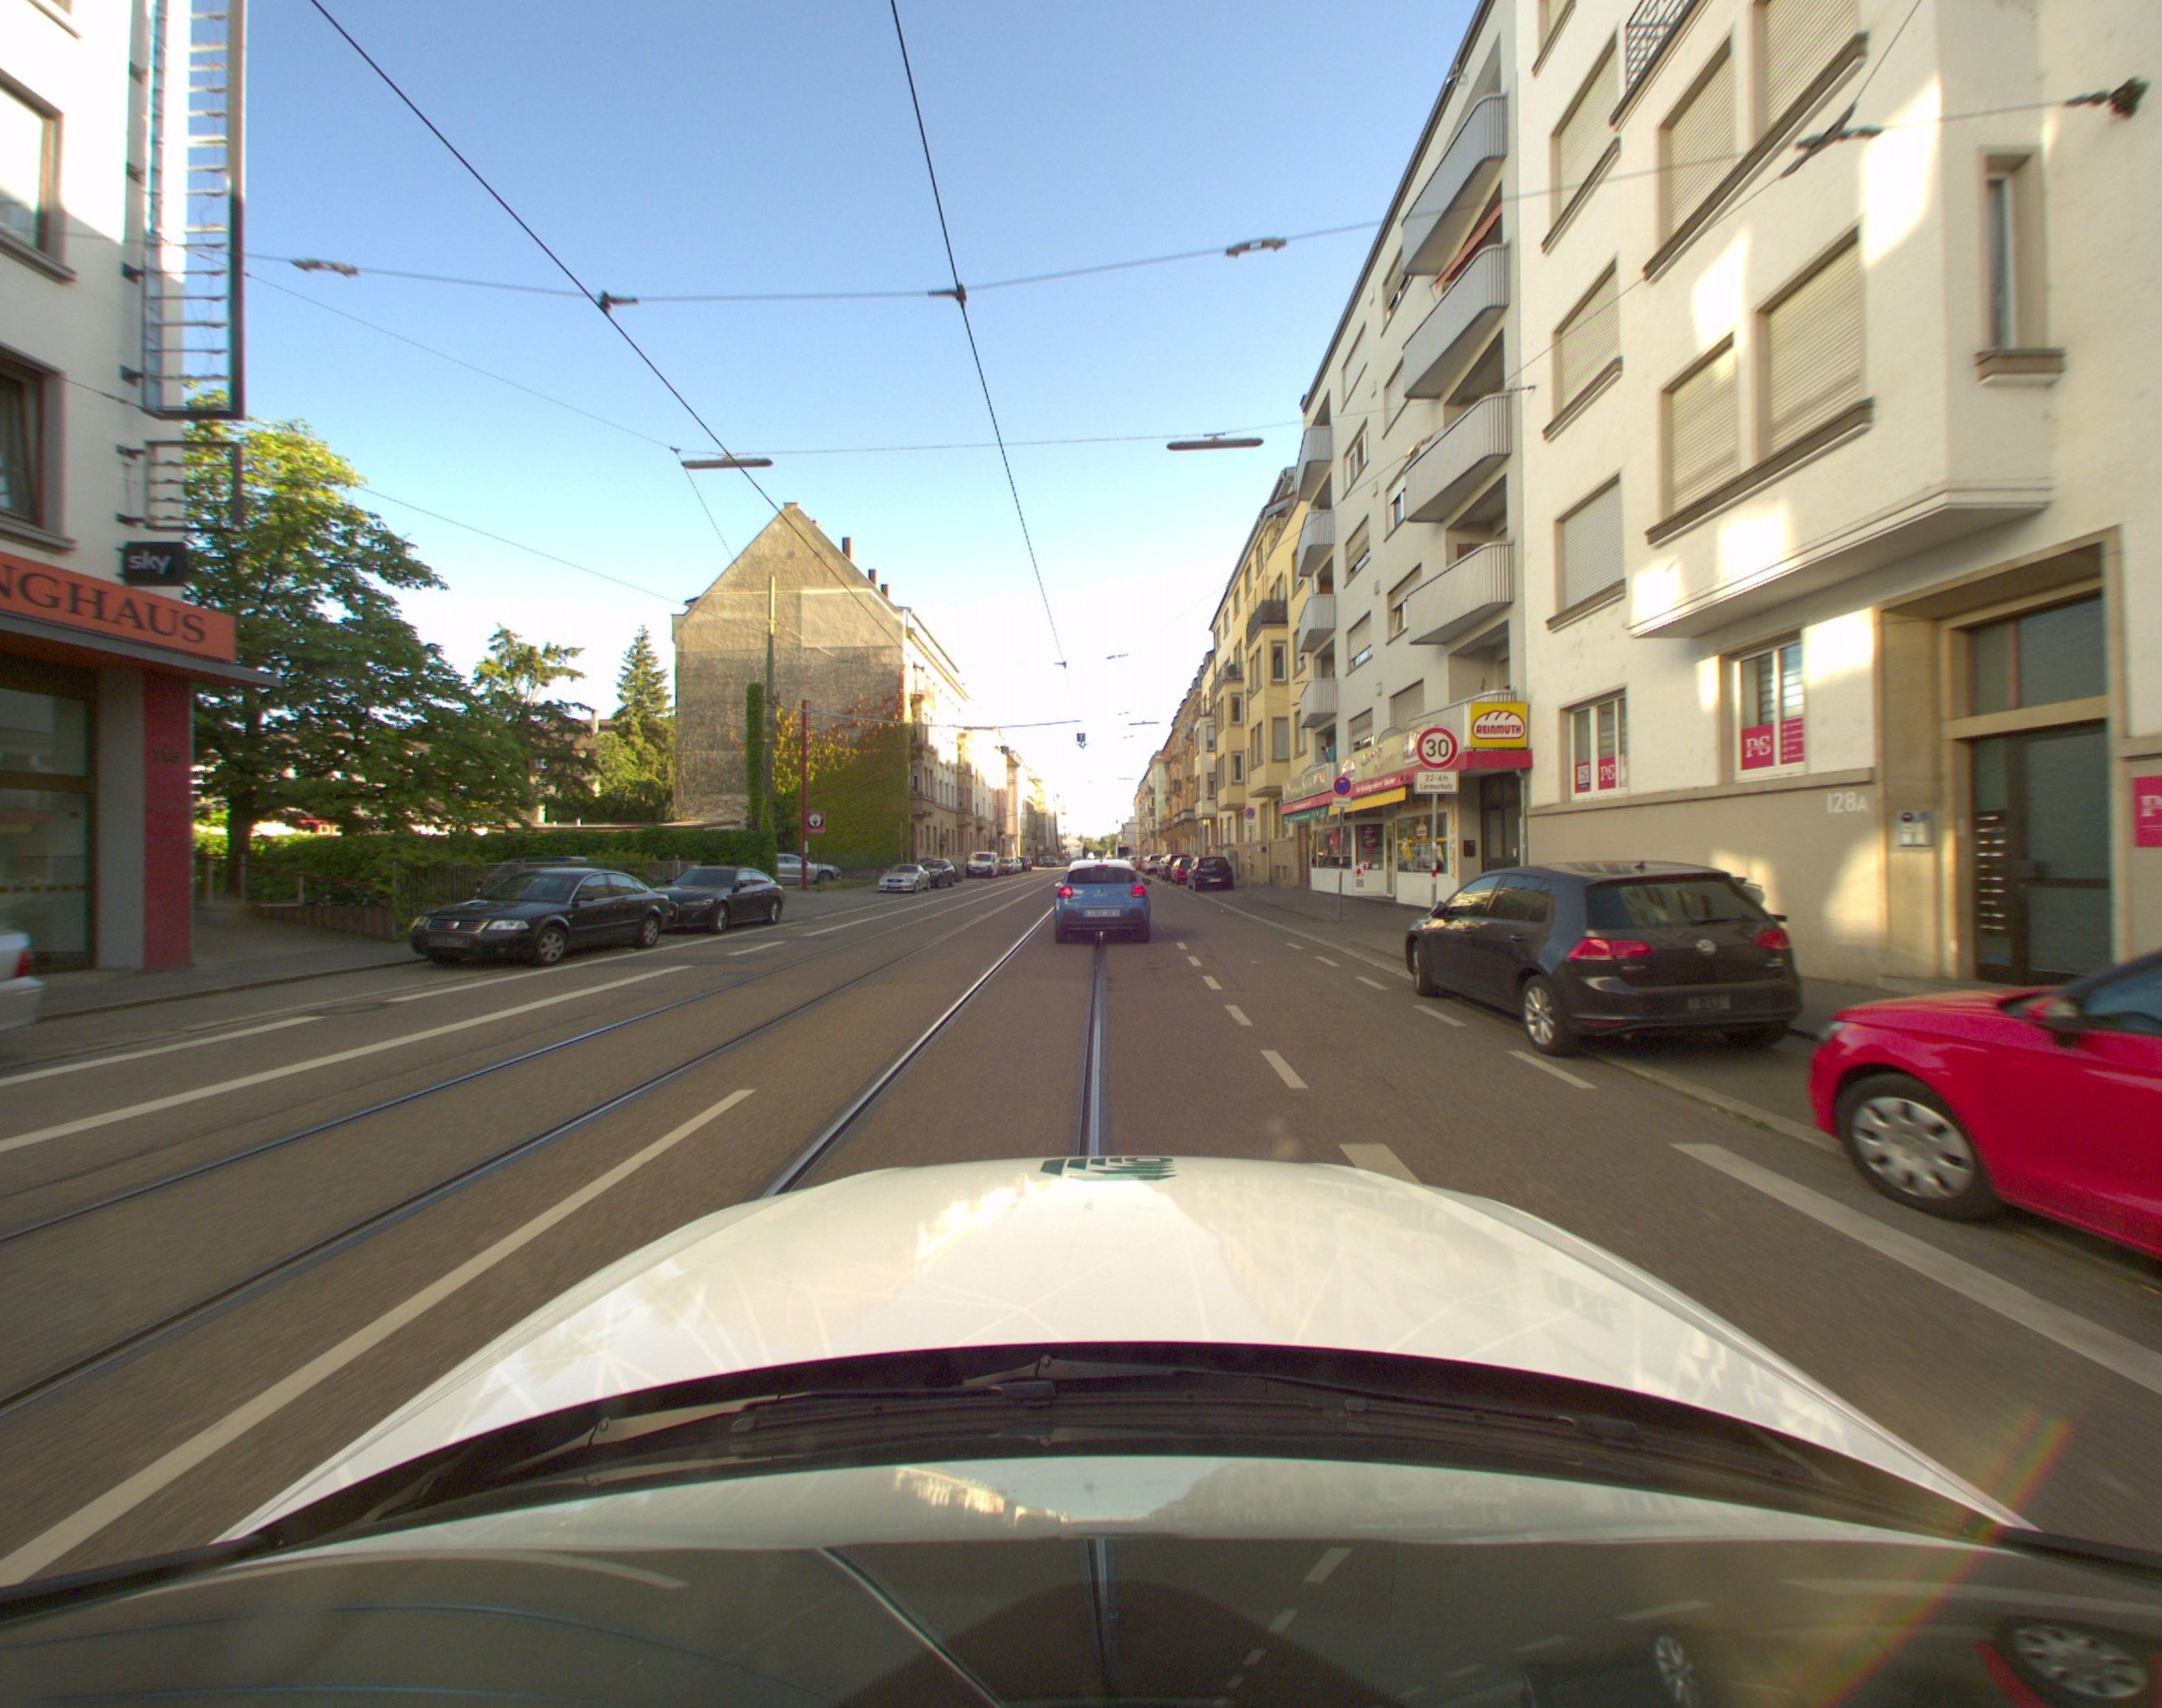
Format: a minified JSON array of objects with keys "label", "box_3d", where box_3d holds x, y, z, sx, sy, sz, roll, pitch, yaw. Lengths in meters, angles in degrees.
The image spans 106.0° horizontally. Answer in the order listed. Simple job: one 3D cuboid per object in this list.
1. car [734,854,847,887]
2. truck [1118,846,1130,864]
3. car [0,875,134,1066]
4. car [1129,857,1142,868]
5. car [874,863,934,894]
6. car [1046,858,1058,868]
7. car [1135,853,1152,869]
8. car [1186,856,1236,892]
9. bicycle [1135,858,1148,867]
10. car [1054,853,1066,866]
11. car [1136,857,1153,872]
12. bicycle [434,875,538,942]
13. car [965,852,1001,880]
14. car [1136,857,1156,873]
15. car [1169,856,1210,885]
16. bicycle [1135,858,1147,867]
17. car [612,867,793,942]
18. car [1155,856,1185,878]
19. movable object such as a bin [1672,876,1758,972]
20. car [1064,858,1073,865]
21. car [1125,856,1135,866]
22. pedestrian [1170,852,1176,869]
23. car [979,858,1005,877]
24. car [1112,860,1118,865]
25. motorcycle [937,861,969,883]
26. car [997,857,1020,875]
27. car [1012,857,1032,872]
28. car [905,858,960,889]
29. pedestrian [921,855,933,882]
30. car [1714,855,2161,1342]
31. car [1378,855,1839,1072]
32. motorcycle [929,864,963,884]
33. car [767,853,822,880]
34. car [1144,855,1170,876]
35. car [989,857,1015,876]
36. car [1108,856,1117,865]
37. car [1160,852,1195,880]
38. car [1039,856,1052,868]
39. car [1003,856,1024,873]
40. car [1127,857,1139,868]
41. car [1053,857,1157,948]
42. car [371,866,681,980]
[{"label":"car","box_3d":[-13.974,0.765,39.240,4.813,1.518,1.980,0,0,-32]},{"label":"truck","box_3d":[10.192,0.310,193.649,2.841,4.083,11.279,-1,0,3]},{"label":"car","box_3d":[-9.106,0.875,4.755,1.776,1.398,4.448,1,0,3]},{"label":"car","box_3d":[8.185,1.295,122.778,1.777,1.632,4.002,-1,-1,2]},{"label":"car","box_3d":[-8.245,1.101,38.270,1.776,1.314,4.222,1,0,2]},{"label":"car","box_3d":[-4.818,1.457,134.571,1.777,1.627,4.608,1,0,0]},{"label":"car","box_3d":[7.321,0.856,95.686,1.746,1.735,4.509,-4,-1,2]},{"label":"car","box_3d":[5.715,0.851,36.223,1.712,1.491,4.003,-2,0,2]},{"label":"bicycle","box_3d":[8.720,1.199,117.340,1.716,1.154,0.469,-4,-1,2]},{"label":"car","box_3d":[-4.102,1.033,158.307,2.138,2.475,4.979,1,0,0]},{"label":"car","box_3d":[6.953,1.144,88.997,1.746,1.594,3.732,-1,0,3]},{"label":"bicycle","box_3d":[-11.585,1.026,15.945,0.438,1.174,2.051,0,-1,3]},{"label":"car","box_3d":[-7.413,0.893,61.885,1.966,1.949,5.252,1,0,1]},{"label":"car","box_3d":[6.303,1.058,79.407,1.648,1.483,4.474,-1,0,1]},{"label":"car","box_3d":[5.890,0.865,44.806,1.851,1.455,4.713,-1,0,3]},{"label":"bicycle","box_3d":[8.783,1.202,119.472,1.716,1.154,0.469,-4,-1,2]},{"label":"car","box_3d":[-8.600,1.060,19.074,1.776,1.446,4.844,1,0,2]},{"label":"car","box_3d":[6.230,0.896,57.268,1.731,1.442,4.033,-1,0,1]},{"label":"movable object such as a bin","box_3d":[7.298,0.794,9.388,0.556,1.057,0.554,0,-1,0]},{"label":"car","box_3d":[-3.121,1.815,204.403,1.819,1.632,4.851,-1,0,2]},{"label":"car","box_3d":[9.134,1.311,151.809,1.724,1.827,4.688,-1,-1,2]},{"label":"pedestrian","box_3d":[9.223,0.624,81.752,0.511,1.687,0.448,-1,-1,1]},{"label":"car","box_3d":[-7.342,1.112,67.347,1.597,1.473,3.647,1,0,2]},{"label":"car","box_3d":[9.421,2.370,226.819,1.758,1.487,4.033,-1,-1,2]},{"label":"motorcycle","box_3d":[-7.907,1.112,50.336,0.875,1.351,1.970,0,-1,34]},{"label":"car","box_3d":[-6.821,1.112,77.214,1.766,1.547,4.365,1,0,0]},{"label":"car","box_3d":[-6.394,1.104,88.225,1.776,1.553,3.020,1,0,2]},{"label":"car","box_3d":[-7.871,1.013,43.675,1.775,1.565,4.615,1,0,4]},{"label":"pedestrian","box_3d":[-10.127,0.956,53.599,0.677,1.724,0.616,0,-1,2]},{"label":"car","box_3d":[4.368,0.786,2.479,1.849,1.473,3.991,-3,-1,3]},{"label":"car","box_3d":[4.420,0.769,7.798,1.703,1.407,4.361,-3,-1,3]},{"label":"motorcycle","box_3d":[-8.023,1.186,48.524,0.732,1.171,2.193,0,0,32]},{"label":"car","box_3d":[-16.862,0.705,48.122,1.745,1.525,3.911,0,0,2]},{"label":"car","box_3d":[6.289,0.923,67.679,1.836,1.691,4.507,-1,0,2]},{"label":"car","box_3d":[-6.935,1.073,71.741,1.777,1.523,4.360,1,0,1]},{"label":"car","box_3d":[6.796,1.468,176.371,1.814,1.894,4.002,0,0,2]},{"label":"car","box_3d":[5.984,0.751,51.063,1.851,1.665,4.565,-1,0,3]},{"label":"car","box_3d":[-5.396,1.220,123.384,1.777,1.690,4.667,1,0,0]},{"label":"car","box_3d":[-6.792,1.071,82.486,1.777,1.622,4.178,1,0,0]},{"label":"car","box_3d":[8.124,1.325,128.360,1.777,1.576,4.328,-1,0,2]},{"label":"car","box_3d":[0.483,0.835,15.811,1.728,1.507,3.994,1,0,2]},{"label":"car","box_3d":[-8.708,0.971,13.435,1.777,1.481,4.700,1,0,1]}]
